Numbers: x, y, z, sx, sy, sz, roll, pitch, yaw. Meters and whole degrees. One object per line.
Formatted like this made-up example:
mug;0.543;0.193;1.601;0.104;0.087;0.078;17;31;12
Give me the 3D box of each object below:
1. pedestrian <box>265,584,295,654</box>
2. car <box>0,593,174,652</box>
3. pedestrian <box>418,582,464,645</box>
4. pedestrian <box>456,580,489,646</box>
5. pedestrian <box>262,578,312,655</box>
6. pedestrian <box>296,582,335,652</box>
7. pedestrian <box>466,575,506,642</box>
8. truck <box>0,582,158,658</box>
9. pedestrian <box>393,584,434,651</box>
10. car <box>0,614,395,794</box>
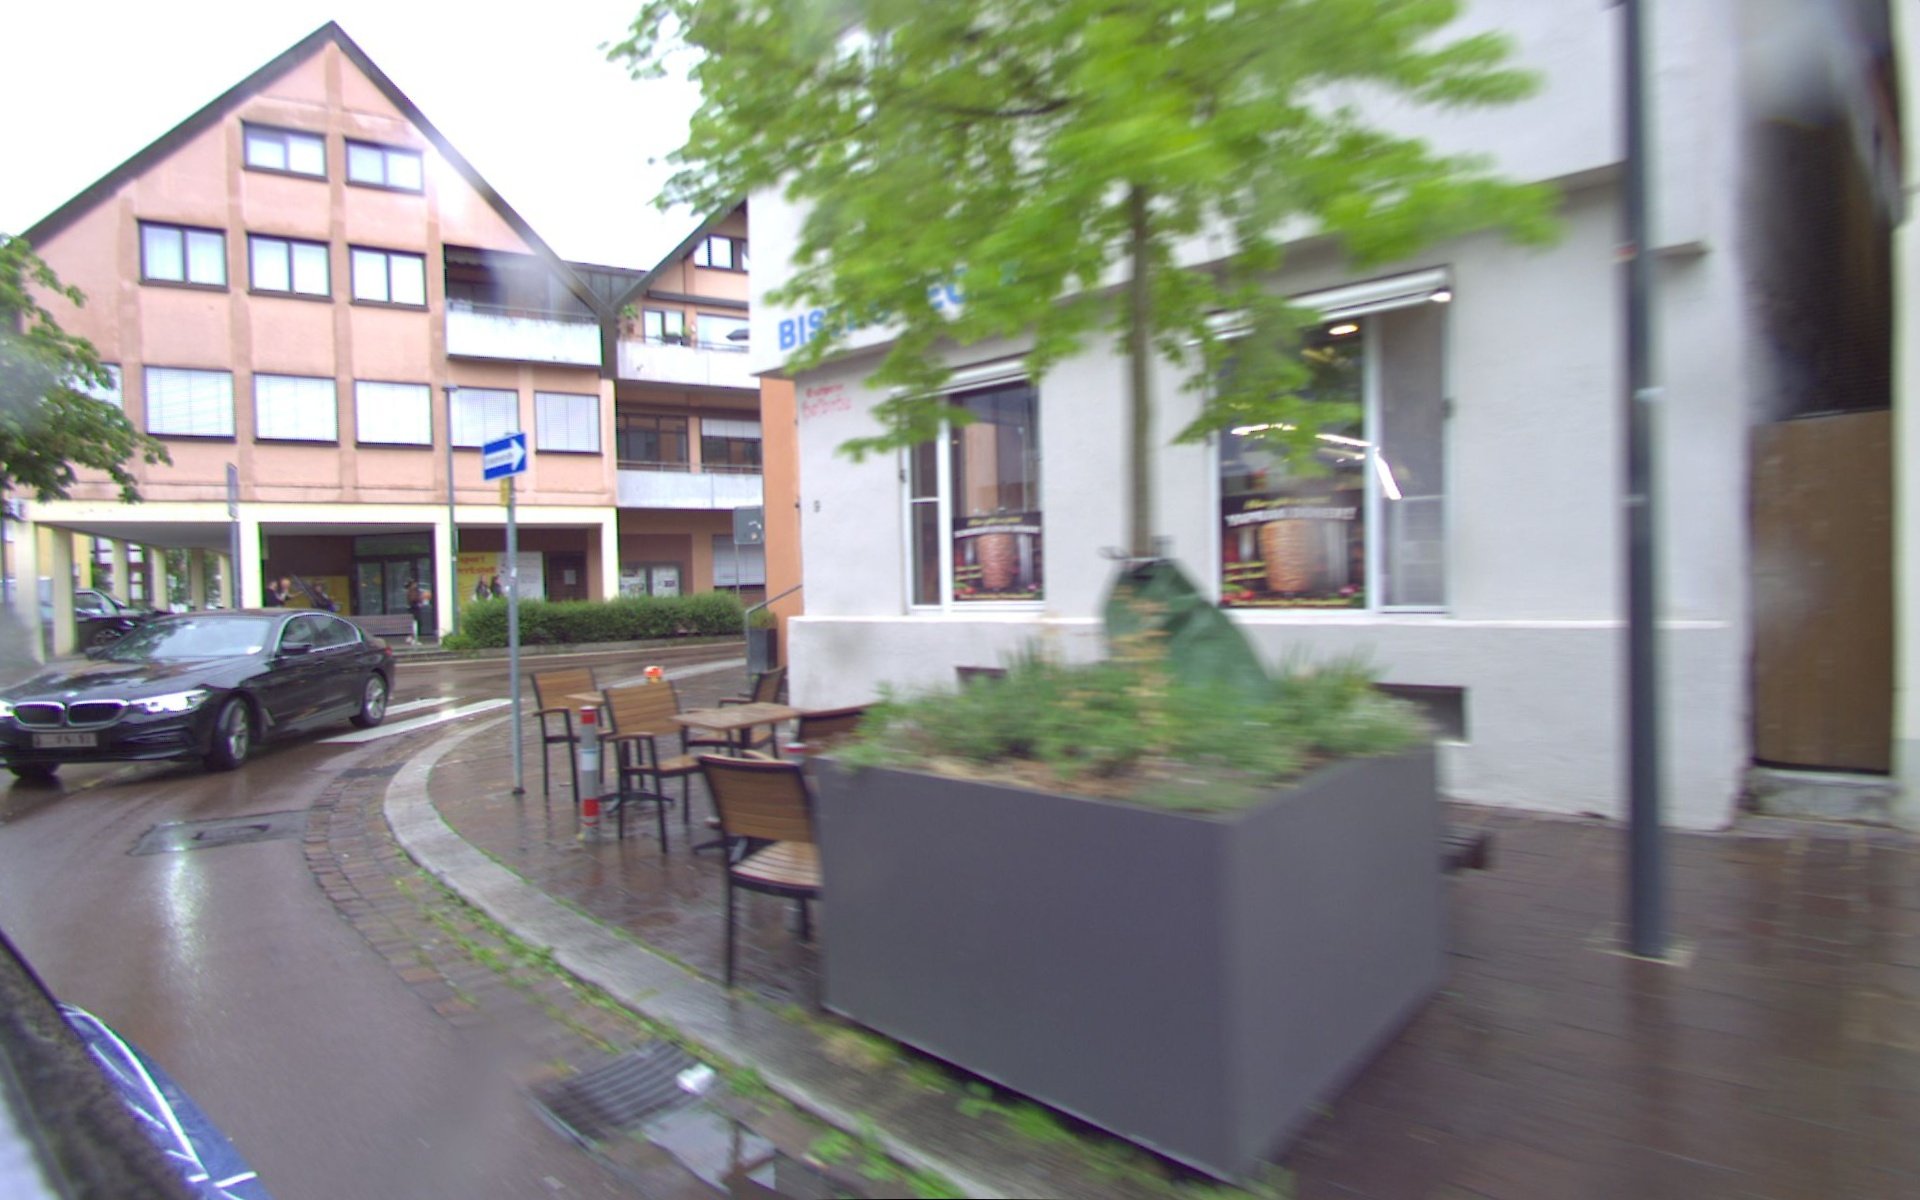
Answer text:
pedestrian;-16.579;0.453;24.696;0.512;1.676;0.543;-2;1;-29
car;-22.084;0.549;24.640;4.395;1.285;1.774;-2;1;-28
pedestrian;-13.725;0.347;26.765;0.700;1.631;0.794;-1;1;10
pedestrian;-12.788;0.327;26.540;0.720;1.702;0.727;-2;1;-27
pedestrian;-16.022;0.381;24.124;0.877;1.762;0.738;-2;1;-28
pedestrian;-16.101;0.423;25.298;0.730;1.702;0.638;-2;1;-27
pedestrian;-12.150;0.209;25.944;0.807;1.673;0.700;-2;1;-30
truck;-23.769;0.507;26.593;3.931;1.821;1.774;-2;1;-28
pedestrian;-13.727;0.422;25.449;0.811;1.616;0.747;-1;3;-24
car;-7.801;0.871;10.421;1.918;1.413;4.426;0;0;-7
